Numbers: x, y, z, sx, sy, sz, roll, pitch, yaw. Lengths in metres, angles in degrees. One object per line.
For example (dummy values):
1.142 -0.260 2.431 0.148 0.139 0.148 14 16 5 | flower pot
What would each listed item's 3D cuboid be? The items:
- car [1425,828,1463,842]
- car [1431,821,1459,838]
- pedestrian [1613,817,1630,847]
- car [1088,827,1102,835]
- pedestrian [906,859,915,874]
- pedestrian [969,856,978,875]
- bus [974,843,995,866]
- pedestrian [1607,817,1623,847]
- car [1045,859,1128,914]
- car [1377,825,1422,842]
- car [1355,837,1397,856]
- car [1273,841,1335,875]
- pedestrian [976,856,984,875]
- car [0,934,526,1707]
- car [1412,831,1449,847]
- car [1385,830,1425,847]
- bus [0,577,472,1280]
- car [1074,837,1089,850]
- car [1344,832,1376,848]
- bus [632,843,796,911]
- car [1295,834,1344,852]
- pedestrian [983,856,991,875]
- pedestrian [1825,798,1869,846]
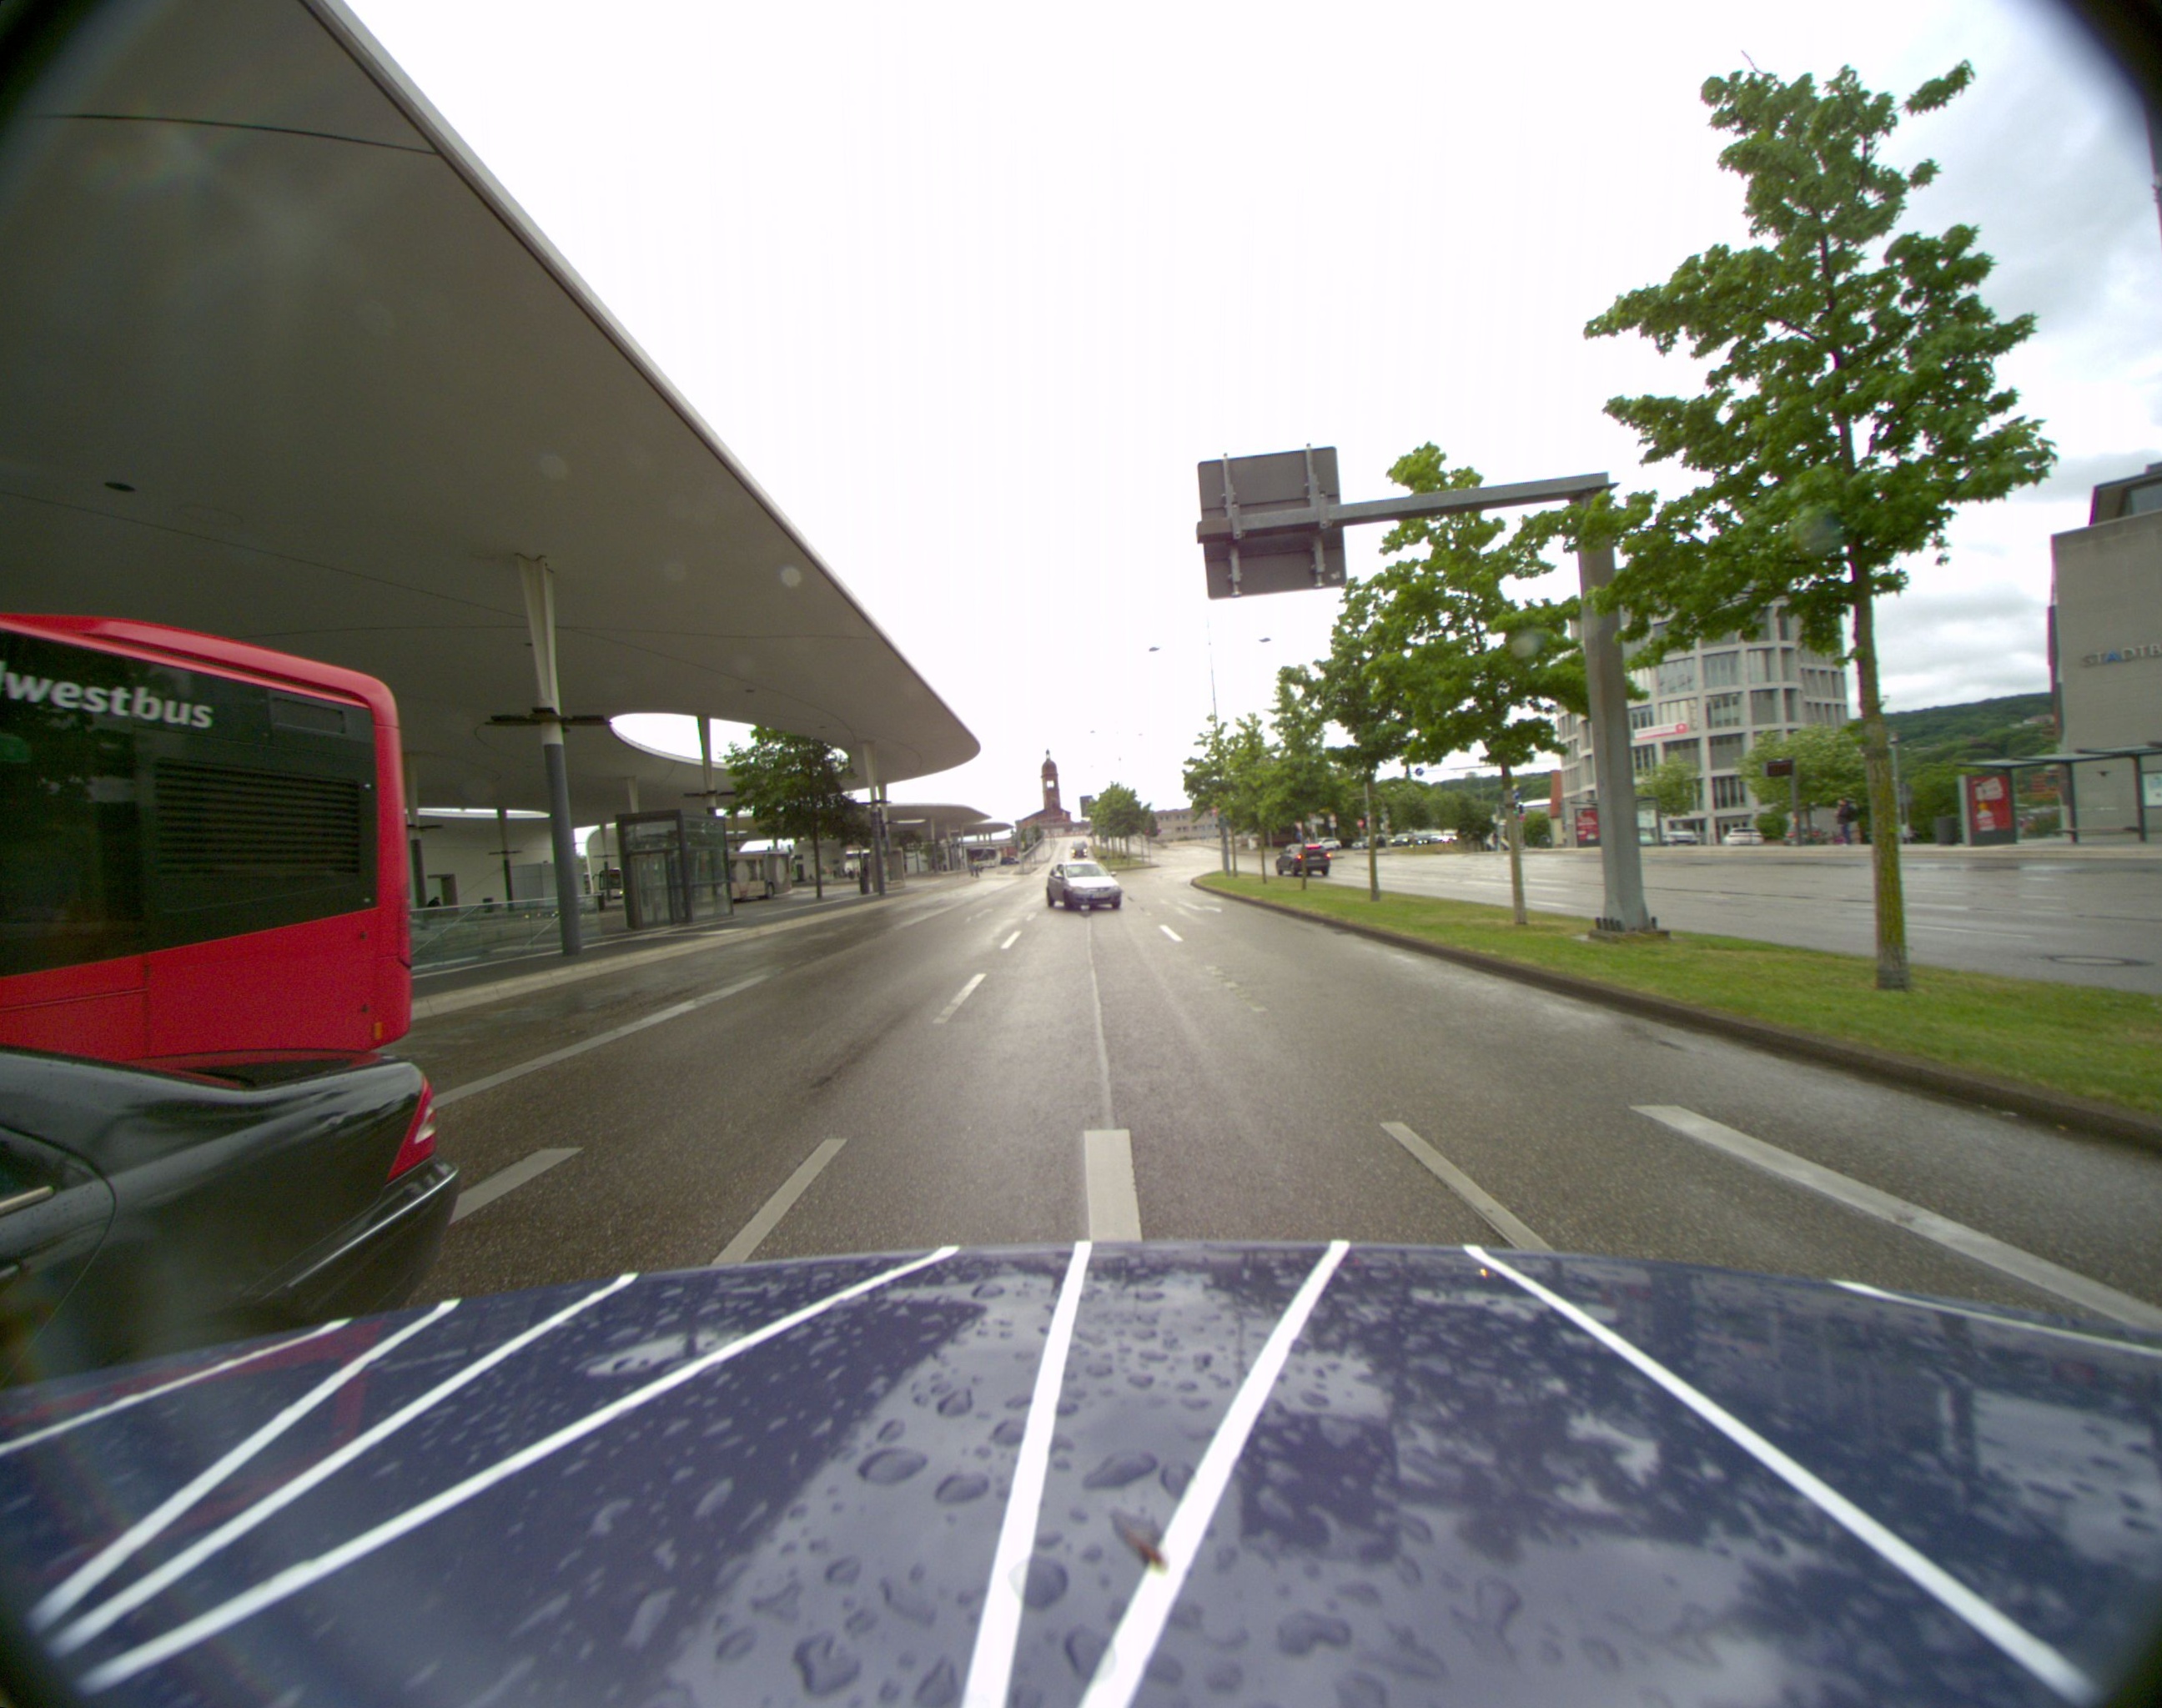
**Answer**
49.428 -2.615 103.643 2.196 1.702 4.912 -3 0 -10 | car
46.695 -3.119 97.571 1.995 2.002 4.008 -2 0 44 | car
30.054 -1.241 42.250 0.520 1.625 0.536 -2 1 1 | pedestrian
3.223 -5.209 173.640 2.001 1.765 3.994 -3 1 -16 | car
-18.993 1.407 84.542 0.723 1.621 0.753 -3 1 0 | pedestrian
-9.411 0.985 66.372 0.576 1.614 0.588 -3 1 1 | pedestrian
-14.303 0.060 113.270 2.675 3.111 9.712 -3 0 -5 | bus
29.505 -1.214 42.017 0.504 1.625 0.502 -2 1 1 | pedestrian
0.082 0.927 23.332 1.629 1.450 3.731 -3 0 -14 | car
43.255 -2.811 103.200 2.315 2.002 5.021 -3 1 -41 | car
31.649 -0.809 81.498 4.925 1.702 2.190 -3 1 -43 | car
11.624 0.182 39.950 1.826 1.630 4.599 -3 0 0 | car
-8.805 0.986 66.176 0.557 1.614 0.552 -3 1 1 | pedestrian
-2.827 1.152 0.292 1.750 1.472 4.434 -6 2 1 | car
41.845 -1.826 90.930 4.925 1.702 2.190 -3 1 -43 | car
36.762 -1.792 86.155 4.925 1.702 2.190 -3 1 -43 | car
-6.211 0.382 1.918 2.750 3.155 8.119 -3 0 -1 | bus
0.077 -1.378 101.409 1.704 1.656 3.998 -3 1 -2 | car
32.409 -1.642 88.128 1.994 1.783 4.008 -2 0 43 | car
-19.932 1.077 42.643 3.003 3.088 12.354 -3 0 0 | bus
25.564 -1.184 81.331 4.923 1.702 2.191 -3 1 -30 | car
-8.180 0.960 66.124 0.557 1.614 0.552 -3 1 1 | pedestrian
29.220 -1.213 28.994 0.787 1.750 0.972 -3 1 -28 | pedestrian
